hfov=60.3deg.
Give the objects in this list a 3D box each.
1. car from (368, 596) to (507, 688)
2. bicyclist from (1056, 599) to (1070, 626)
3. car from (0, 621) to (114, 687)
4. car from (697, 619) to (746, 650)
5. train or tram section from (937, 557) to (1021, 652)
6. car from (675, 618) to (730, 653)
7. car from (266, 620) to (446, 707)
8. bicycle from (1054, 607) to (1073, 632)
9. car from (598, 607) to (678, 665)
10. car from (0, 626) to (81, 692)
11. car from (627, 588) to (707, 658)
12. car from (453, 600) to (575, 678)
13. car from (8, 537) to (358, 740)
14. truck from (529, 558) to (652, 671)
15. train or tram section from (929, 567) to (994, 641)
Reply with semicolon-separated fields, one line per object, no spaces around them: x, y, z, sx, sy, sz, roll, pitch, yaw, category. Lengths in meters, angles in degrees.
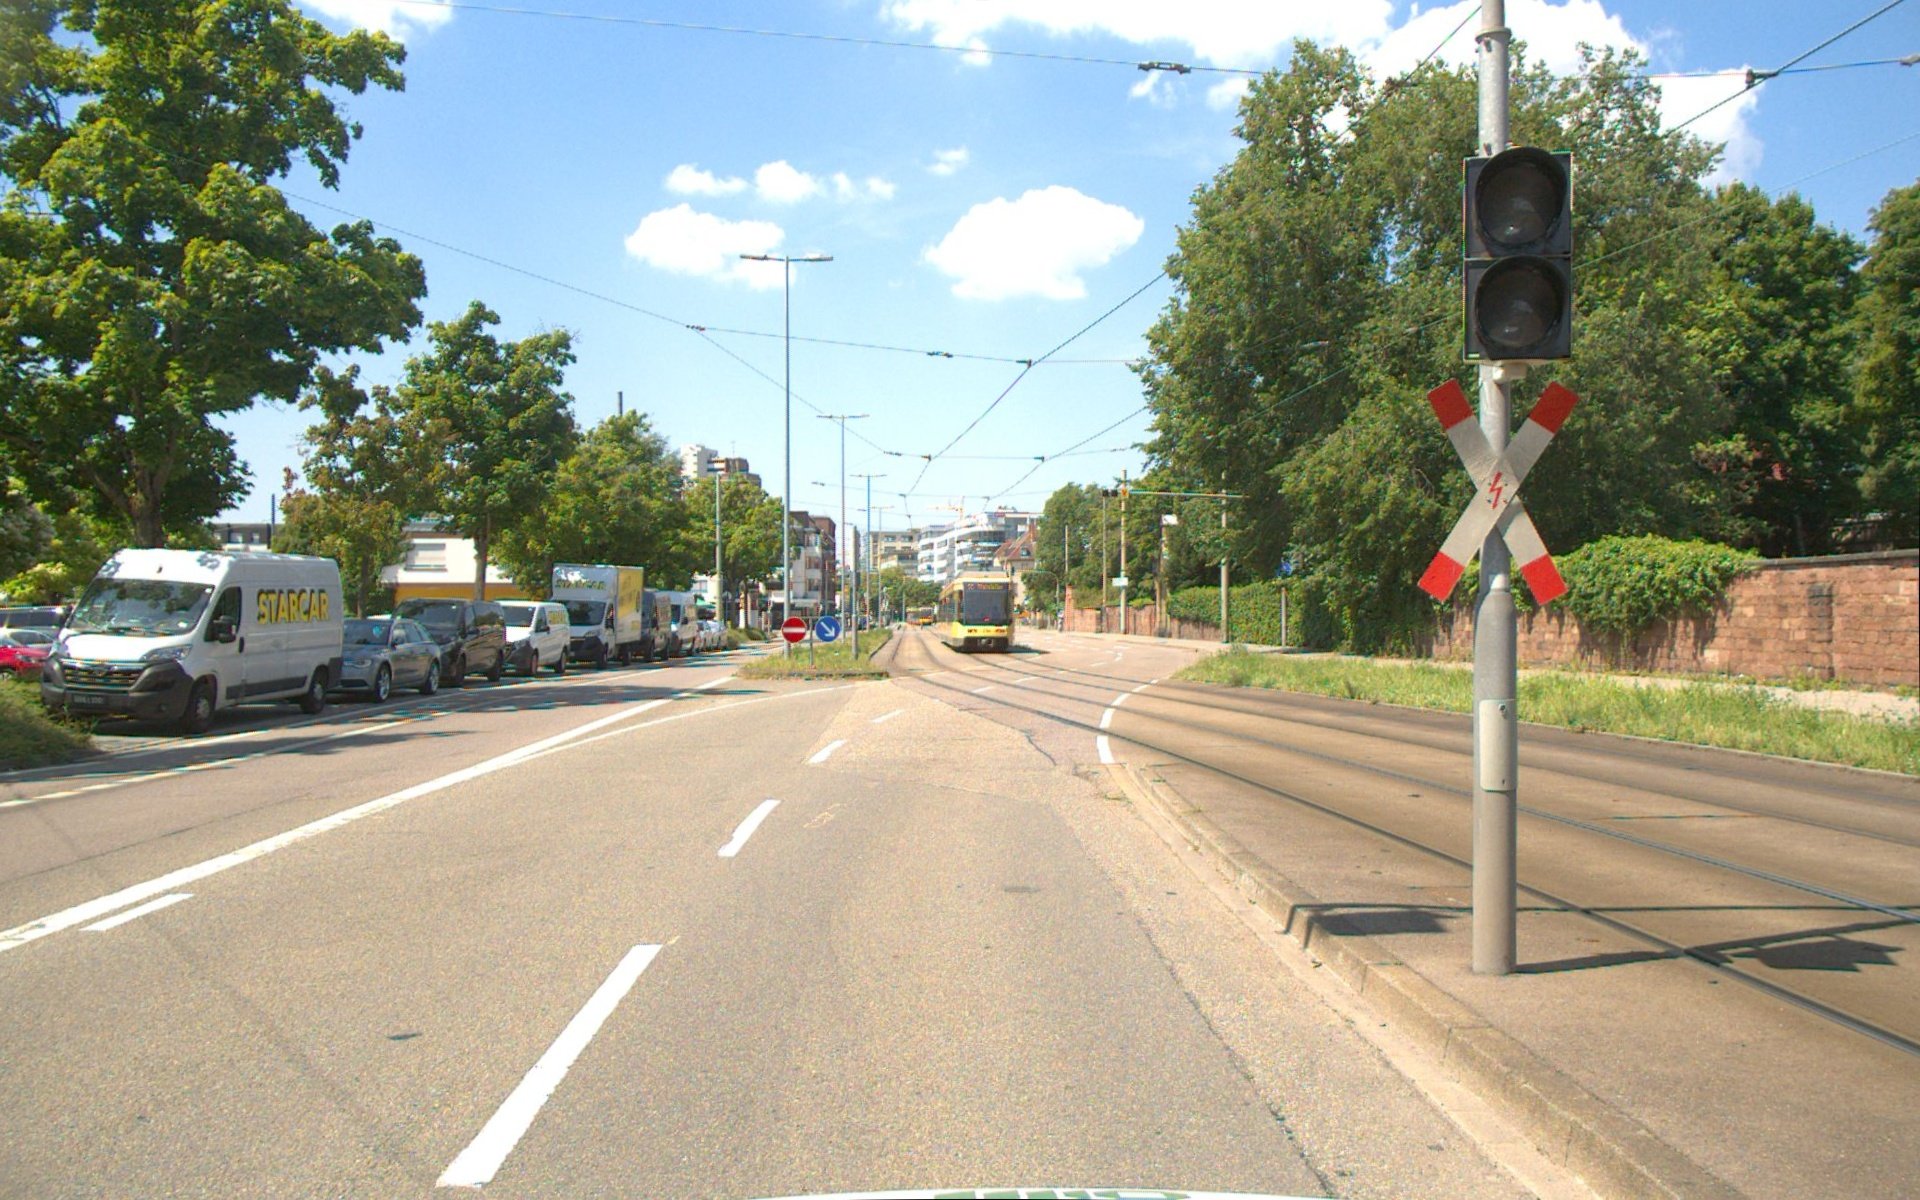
-11.656;0.911;37.161;1.831;1.928;4.269;-1;0;-1;car
8.258;1.039;132.781;1.074;2.145;1.031;0;-1;-1;bicyclist
-22.145;1.265;38.559;3.907;1.467;1.804;-1;0;-3;car
-12.784;1.827;88.887;2.019;1.609;4.869;-1;0;-1;car
0.629;0.225;75.319;2.884;3.756;18.380;1;0;-2;train or tram section
-12.627;1.718;81.264;2.019;1.609;4.869;-1;0;-1;car
-11.131;1.131;30.801;1.831;1.462;4.341;-1;0;-1;car
8.292;1.528;132.626;1.071;1.941;3.679;-1;0;-3;bicycle
-11.667;1.265;60.258;2.019;2.011;4.869;-1;0;-1;car
-21.596;1.287;36.026;3.907;1.363;1.804;-1;0;-3;car
-11.990;0.917;68.023;2.112;2.685;5.611;3;0;1;car
-11.780;1.007;44.014;2.019;1.931;4.869;-1;0;-1;car
-11.211;0.518;24.565;2.112;2.530;6.193;3;0;1;car
-11.647;0.446;52.672;2.112;3.266;7.082;3;0;1;truck
-0.126;0.259;94.601;2.884;3.756;20.273;1;0;-2;train or tram section
